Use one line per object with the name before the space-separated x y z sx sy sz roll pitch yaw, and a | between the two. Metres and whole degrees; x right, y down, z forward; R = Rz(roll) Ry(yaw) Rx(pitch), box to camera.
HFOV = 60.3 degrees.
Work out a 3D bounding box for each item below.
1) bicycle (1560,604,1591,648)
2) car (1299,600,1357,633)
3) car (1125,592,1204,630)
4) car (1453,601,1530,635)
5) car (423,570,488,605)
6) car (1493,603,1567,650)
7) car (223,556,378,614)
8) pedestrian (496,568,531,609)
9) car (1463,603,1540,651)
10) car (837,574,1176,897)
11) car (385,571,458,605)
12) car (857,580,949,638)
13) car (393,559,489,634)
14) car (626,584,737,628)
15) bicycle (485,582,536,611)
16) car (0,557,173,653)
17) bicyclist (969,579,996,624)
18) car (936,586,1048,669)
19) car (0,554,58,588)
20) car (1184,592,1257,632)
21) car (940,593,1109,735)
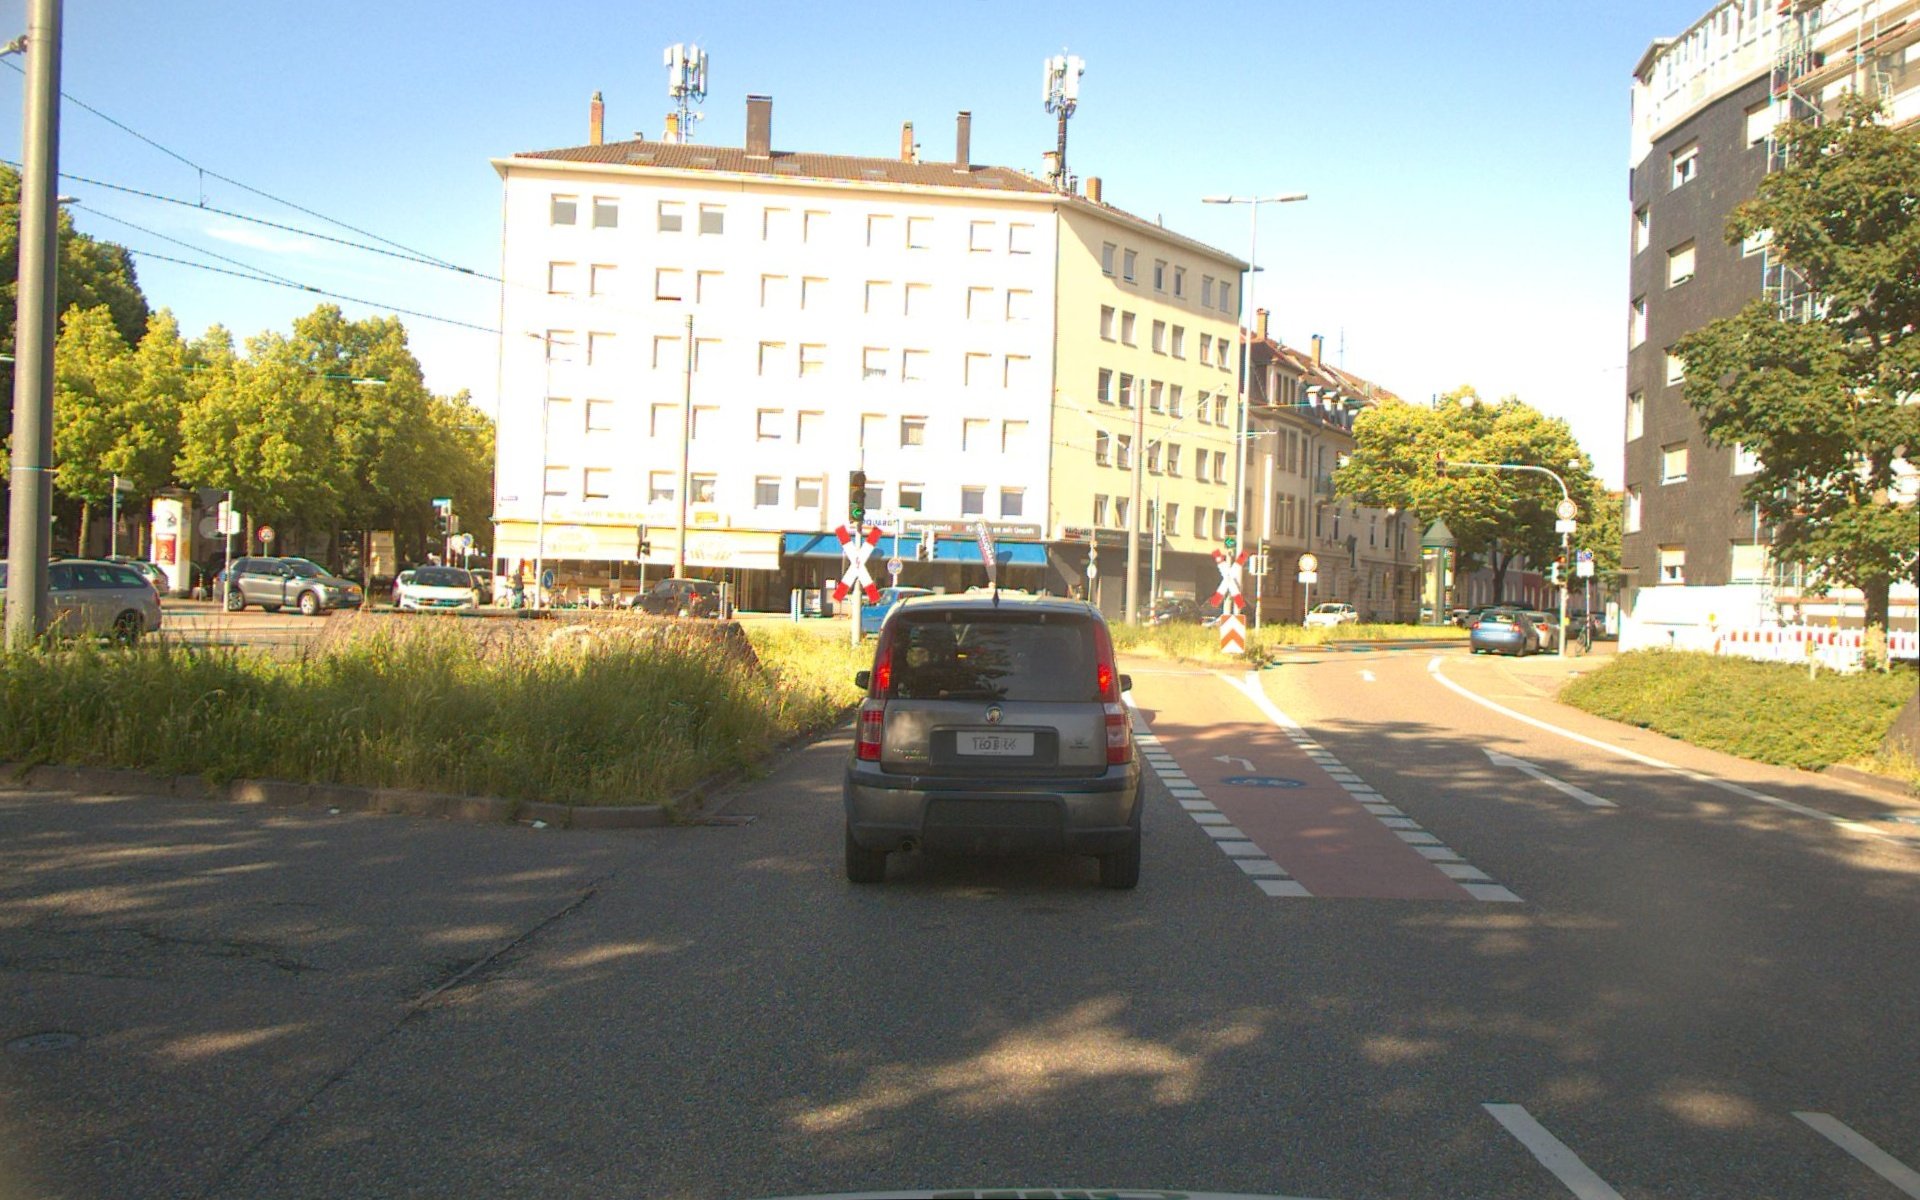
bicycle | 22.238 0.948 59.733 0.562 1.537 2.802 2 0 29
car | 18.183 0.813 81.586 1.758 1.508 3.524 2 0 31
car | 8.160 0.433 65.745 1.758 1.420 3.716 2 0 31
car | 27.545 0.902 85.905 1.874 1.621 3.982 2 0 -16
car | -23.609 -0.593 77.512 1.897 1.539 3.938 2 0 -2
car | 20.315 0.914 58.862 1.785 1.534 3.993 2 1 29
car | -20.016 -0.454 50.272 3.902 1.599 2.001 2 0 15
pedestrian | -16.317 -0.422 60.463 0.920 1.452 0.773 2 -1 36
car | 17.898 0.871 54.562 1.741 1.467 3.613 3 1 28
car | 0.175 0.659 9.753 1.626 1.536 3.250 2 0 -2
car | -22.604 -0.492 69.614 1.954 1.333 3.997 2 0 -4
car | -1.608 0.227 45.630 1.621 1.463 3.378 2 0 -19
car | -12.083 -0.096 38.496 1.962 1.589 4.365 2 0 -18
car | -9.042 0.179 53.566 3.562 1.275 1.685 2 0 43
bicycle | -16.454 -0.120 60.555 1.819 0.968 0.782 3 -1 36
car | -15.111 0.054 26.920 1.628 1.474 4.405 2 0 15
bicyclist | 0.809 0.050 60.207 0.804 1.586 0.562 2 0 18
car | 0.580 0.511 33.432 1.726 1.512 4.288 2 0 -6
car | -37.973 -1.178 66.489 1.562 1.316 3.700 1 1 -3
car | 11.211 0.524 71.052 1.758 1.593 3.757 2 0 31
car | 0.669 0.674 19.417 1.589 1.454 3.686 2 0 -3
